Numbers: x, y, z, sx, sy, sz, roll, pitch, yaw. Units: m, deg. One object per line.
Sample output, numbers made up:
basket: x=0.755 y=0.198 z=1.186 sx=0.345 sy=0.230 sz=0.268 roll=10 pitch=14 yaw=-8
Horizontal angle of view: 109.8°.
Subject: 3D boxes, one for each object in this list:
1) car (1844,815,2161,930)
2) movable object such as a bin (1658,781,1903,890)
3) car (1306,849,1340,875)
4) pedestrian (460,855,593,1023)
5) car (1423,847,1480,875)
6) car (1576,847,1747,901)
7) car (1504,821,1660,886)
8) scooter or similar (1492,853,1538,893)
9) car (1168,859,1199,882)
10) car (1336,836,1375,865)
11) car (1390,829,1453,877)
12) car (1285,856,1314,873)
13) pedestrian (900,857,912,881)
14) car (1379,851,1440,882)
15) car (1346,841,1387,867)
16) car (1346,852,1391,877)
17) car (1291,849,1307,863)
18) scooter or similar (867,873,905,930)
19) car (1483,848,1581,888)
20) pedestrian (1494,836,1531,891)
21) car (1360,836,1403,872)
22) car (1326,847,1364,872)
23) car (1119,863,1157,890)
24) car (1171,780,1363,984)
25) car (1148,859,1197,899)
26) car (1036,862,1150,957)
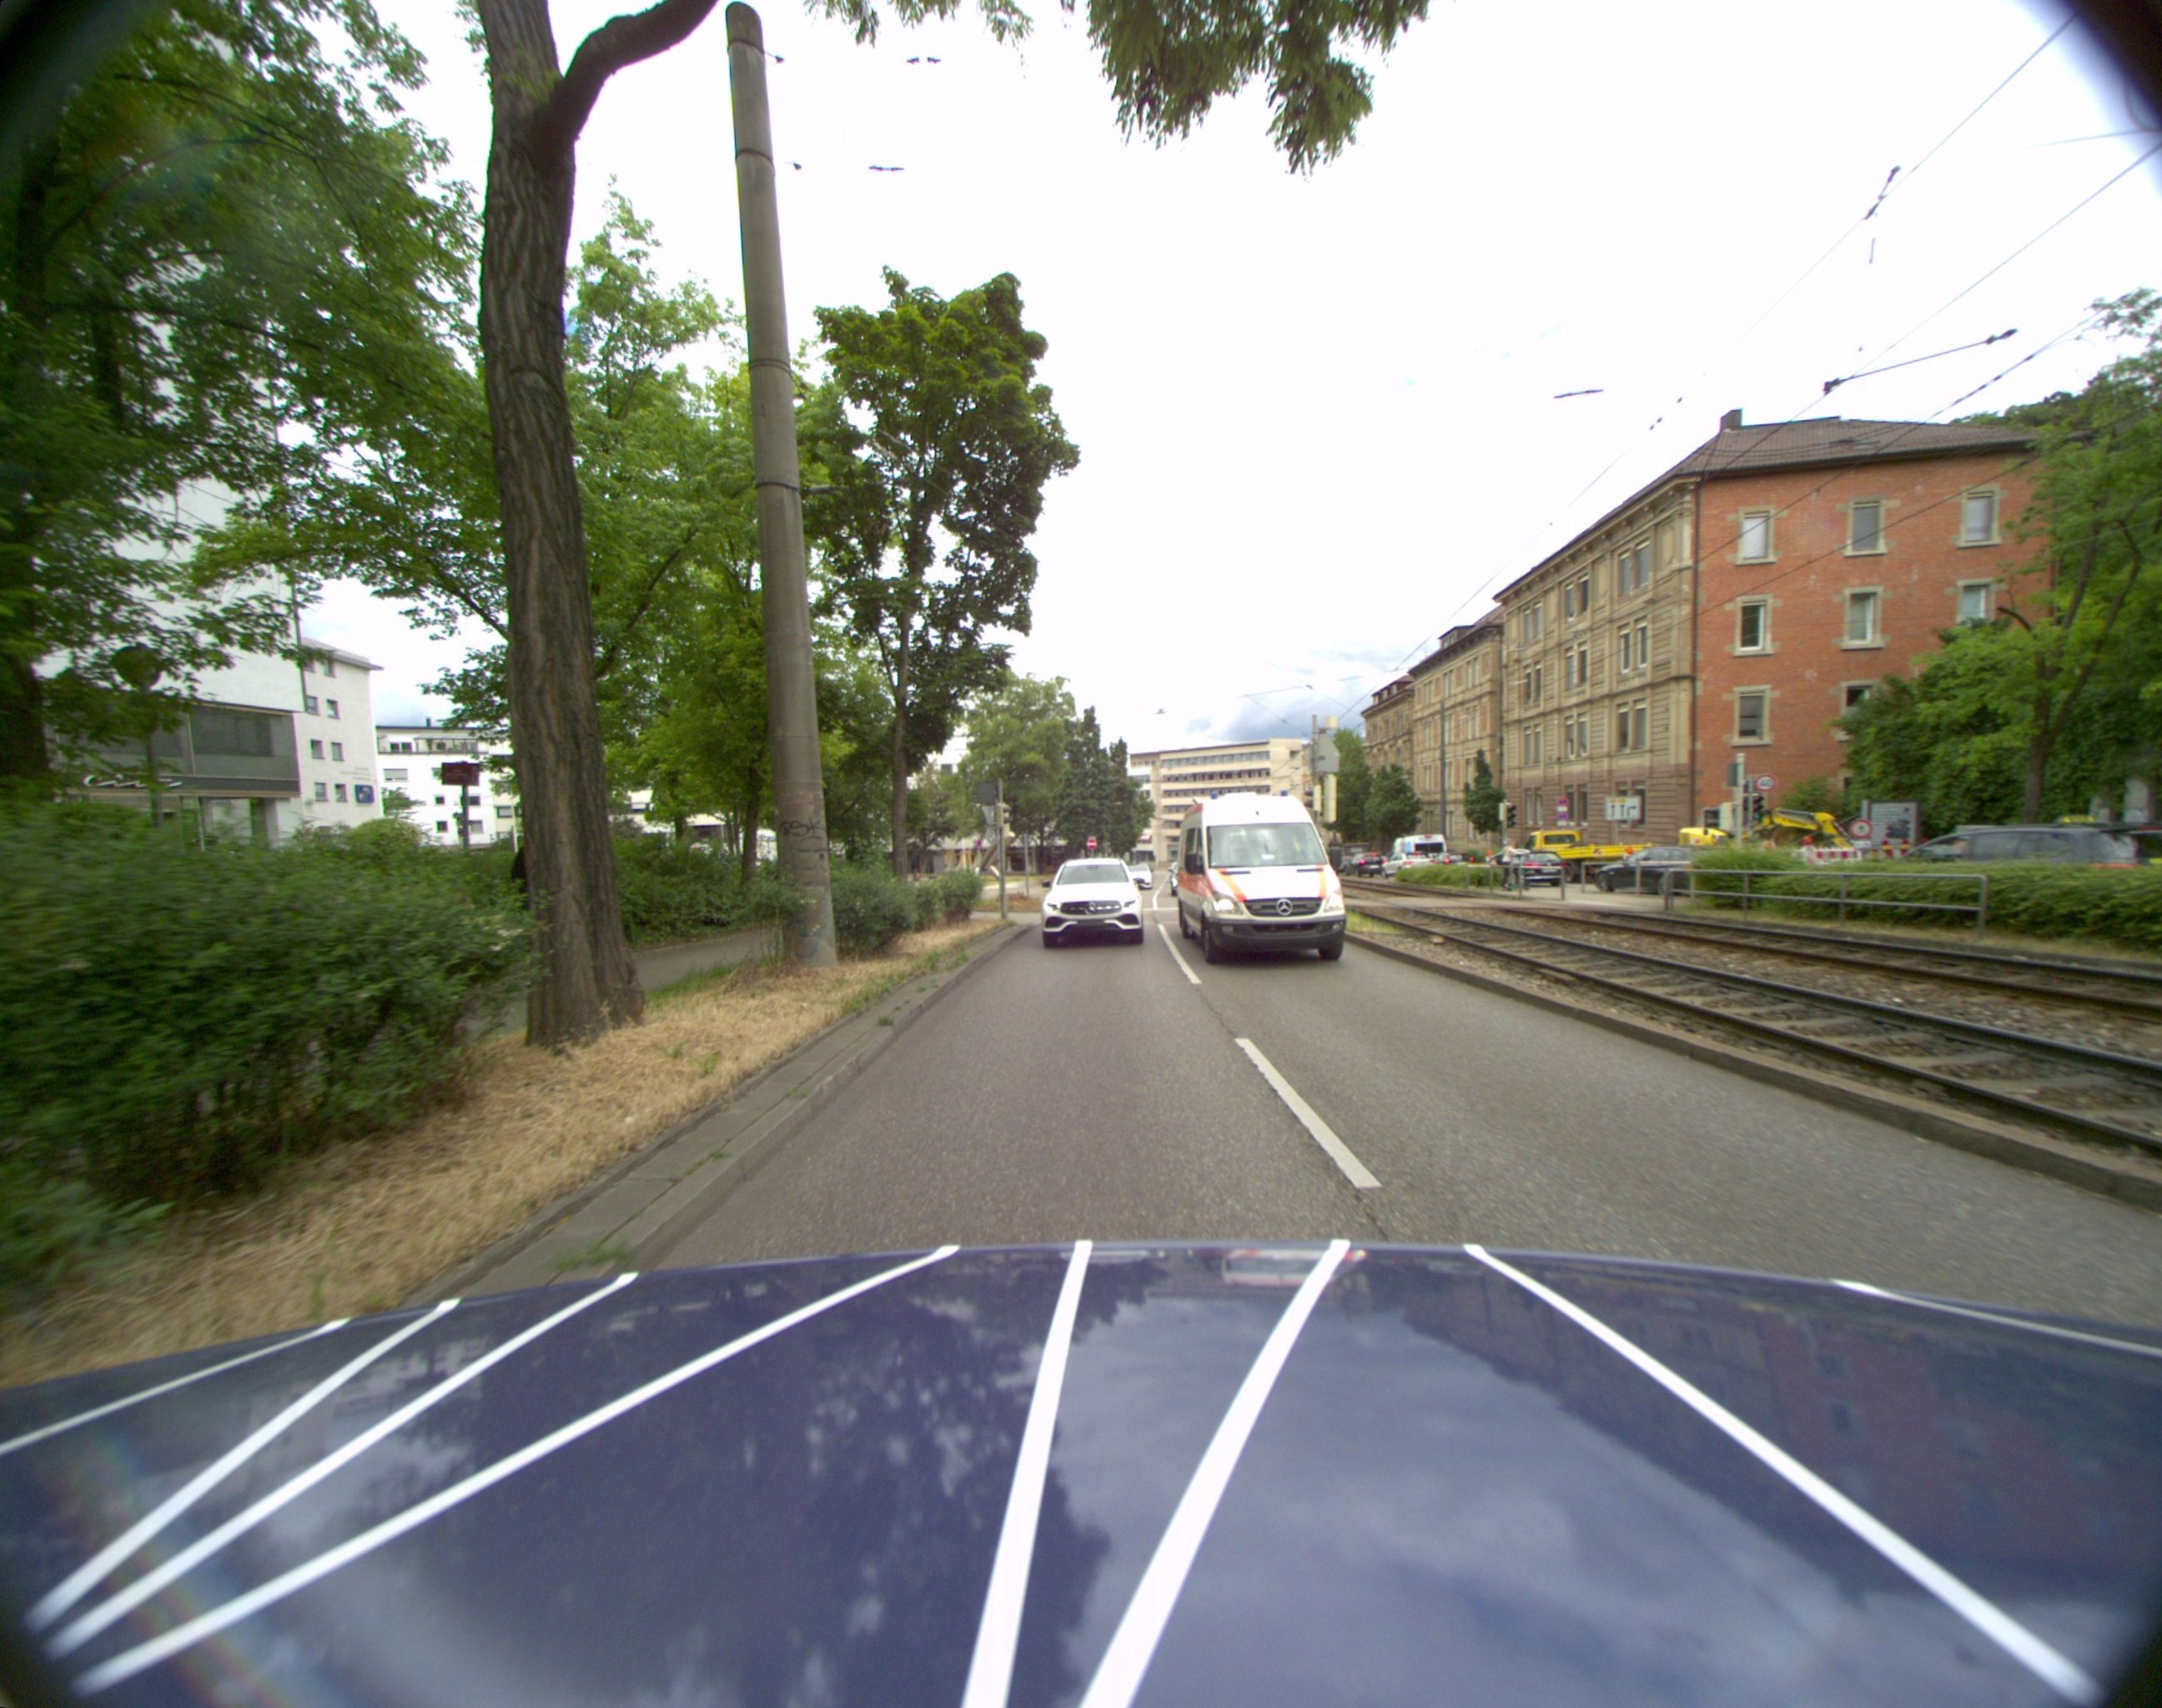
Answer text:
car: x=15.830 y=0.256 z=12.743 sx=1.997 sy=1.595 sz=4.623 roll=-1 pitch=0 yaw=10
movable object such as a bin: x=25.379 y=-0.589 z=28.121 sx=2.754 sy=3.527 sz=6.547 roll=-1 pitch=0 yaw=-4
car: x=19.326 y=0.634 z=60.765 sx=1.997 sy=2.032 sz=4.003 roll=-1 pitch=0 yaw=9
pedestrian: x=-5.840 y=0.860 z=8.041 sx=0.773 sy=1.693 sz=0.785 roll=-1 pitch=0 yaw=5
car: x=20.467 y=0.388 z=42.116 sx=1.648 sy=1.445 sz=3.566 roll=-2 pitch=-1 yaw=5
car: x=17.103 y=0.518 z=22.757 sx=1.885 sy=1.427 sz=4.847 roll=1 pitch=0 yaw=7
car: x=21.075 y=-0.018 z=32.504 sx=2.446 sy=2.421 sz=6.755 roll=-2 pitch=0 yaw=3
scooter or similar: x=14.488 y=0.625 z=25.374 sx=1.500 sy=1.288 sz=0.532 roll=-1 pitch=0 yaw=-23
car: x=7.308 y=1.140 z=54.585 sx=1.998 sy=1.543 sz=4.319 roll=-1 pitch=0 yaw=5
car: x=22.729 y=-0.279 z=63.060 sx=2.240 sy=2.274 sz=4.003 roll=-1 pitch=0 yaw=9
car: x=21.085 y=-0.073 z=47.262 sx=2.213 sy=2.806 sz=4.786 roll=-1 pitch=0 yaw=6
car: x=21.260 y=1.020 z=74.115 sx=1.998 sy=1.608 sz=4.002 roll=-2 pitch=0 yaw=5
pedestrian: x=-11.811 y=0.979 z=51.200 sx=0.727 sy=1.593 sz=0.792 roll=-1 pitch=1 yaw=-16
car: x=17.670 y=0.643 z=41.063 sx=1.707 sy=1.558 sz=4.001 roll=-1 pitch=0 yaw=2
car: x=22.273 y=-0.015 z=59.416 sx=2.319 sy=1.928 sz=3.439 roll=-1 pitch=0 yaw=9
car: x=18.359 y=0.628 z=48.738 sx=1.870 sy=1.510 sz=3.952 roll=-1 pitch=0 yaw=8
car: x=30.010 y=0.249 z=104.701 sx=1.699 sy=1.799 sz=4.003 roll=-2 pitch=0 yaw=9
scooter or similar: x=-4.447 y=1.055 z=17.410 sx=0.632 sy=1.203 sz=1.556 roll=-1 pitch=0 yaw=-8
car: x=17.761 y=0.513 z=30.141 sx=1.782 sy=1.453 sz=4.002 roll=-1 pitch=0 yaw=6
pedestrian: x=14.603 y=0.326 z=25.721 sx=0.742 sy=1.806 sz=0.792 roll=0 pitch=0 yaw=-16
car: x=21.350 y=-0.003 z=54.069 sx=1.997 sy=2.461 sz=4.003 roll=-1 pitch=0 yaw=9
car: x=18.895 y=0.392 z=54.503 sx=1.839 sy=1.739 sz=4.003 roll=-1 pitch=0 yaw=9
car: x=3.252 y=1.239 z=42.870 sx=1.821 sy=1.440 sz=3.855 roll=-1 pitch=0 yaw=8
car: x=2.841 y=0.397 z=13.143 sx=2.038 sy=2.684 sz=5.855 roll=-2 pitch=0 yaw=2
car: x=4.158 y=1.060 z=33.984 sx=1.929 sy=1.562 sz=4.183 roll=-3 pitch=0 yaw=9
car: x=0.415 y=1.003 z=15.590 sx=1.893 sy=1.609 sz=4.480 roll=-2 pitch=0 yaw=6
